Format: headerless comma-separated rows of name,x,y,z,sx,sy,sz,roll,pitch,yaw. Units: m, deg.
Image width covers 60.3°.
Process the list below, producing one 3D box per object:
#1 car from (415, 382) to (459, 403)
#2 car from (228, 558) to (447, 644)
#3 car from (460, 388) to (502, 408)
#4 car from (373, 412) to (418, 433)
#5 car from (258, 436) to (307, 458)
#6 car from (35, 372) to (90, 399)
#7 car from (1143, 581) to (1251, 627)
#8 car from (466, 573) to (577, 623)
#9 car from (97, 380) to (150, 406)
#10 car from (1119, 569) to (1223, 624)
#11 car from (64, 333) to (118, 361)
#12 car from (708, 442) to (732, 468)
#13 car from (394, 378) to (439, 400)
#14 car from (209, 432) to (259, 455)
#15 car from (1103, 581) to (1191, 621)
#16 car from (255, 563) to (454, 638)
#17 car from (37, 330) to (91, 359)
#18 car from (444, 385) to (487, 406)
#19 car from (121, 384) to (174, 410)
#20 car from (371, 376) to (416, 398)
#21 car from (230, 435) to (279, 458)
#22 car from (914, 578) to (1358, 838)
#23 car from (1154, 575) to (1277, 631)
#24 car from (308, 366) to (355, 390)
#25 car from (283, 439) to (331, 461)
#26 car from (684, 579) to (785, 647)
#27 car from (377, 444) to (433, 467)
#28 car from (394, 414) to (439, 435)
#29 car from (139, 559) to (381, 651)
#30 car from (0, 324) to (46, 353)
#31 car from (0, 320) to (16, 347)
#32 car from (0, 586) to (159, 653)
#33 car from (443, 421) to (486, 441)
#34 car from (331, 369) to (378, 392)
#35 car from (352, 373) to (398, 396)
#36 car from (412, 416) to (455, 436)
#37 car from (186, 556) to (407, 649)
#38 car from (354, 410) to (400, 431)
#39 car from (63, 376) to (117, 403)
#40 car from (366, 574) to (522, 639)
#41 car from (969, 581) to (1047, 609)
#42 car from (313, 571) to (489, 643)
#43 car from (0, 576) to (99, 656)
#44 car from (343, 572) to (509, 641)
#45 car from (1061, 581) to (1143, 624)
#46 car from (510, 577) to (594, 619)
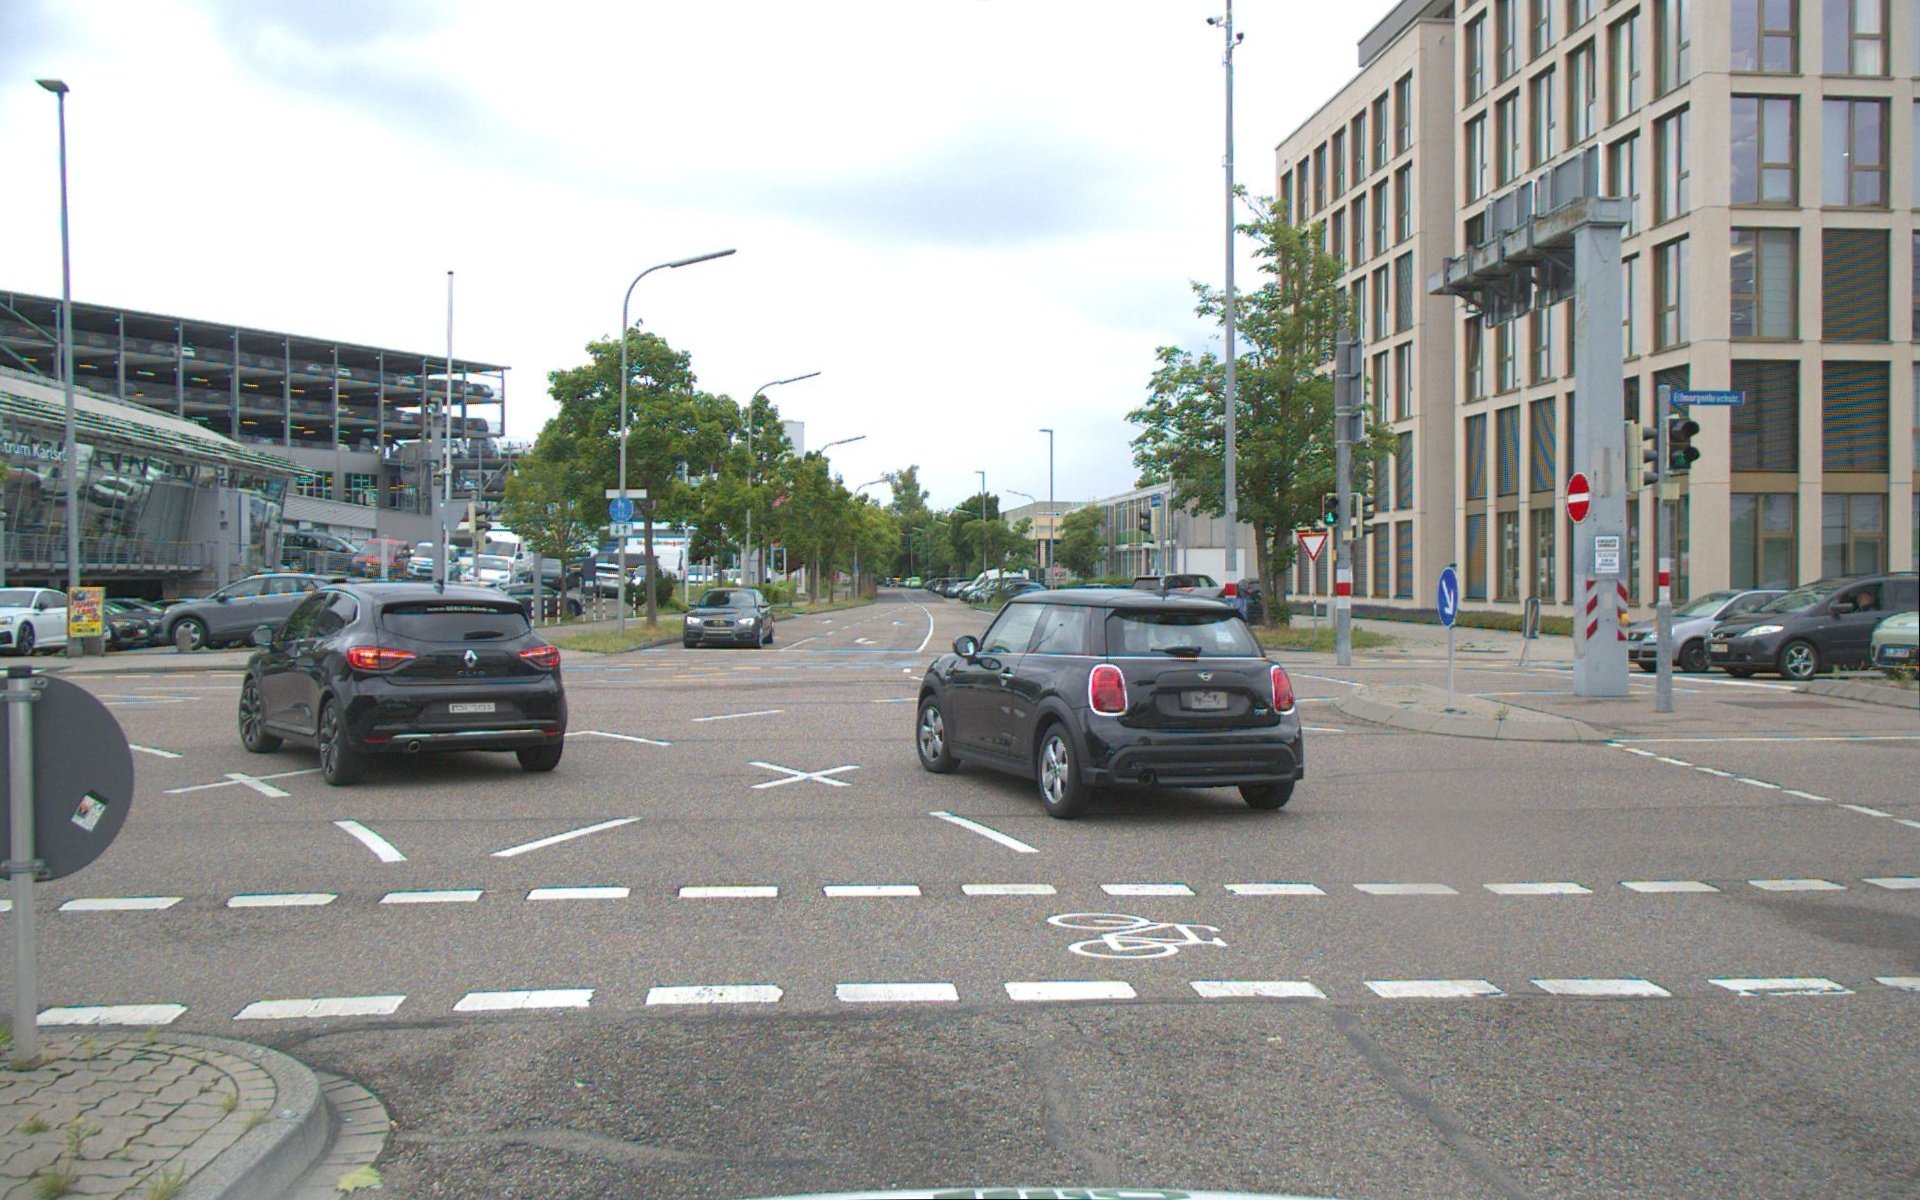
car,-51.363,-20.386,162.480,3.913,1.696,1.996,1,0,30
car,-16.345,0.019,43.647,4.927,2.049,2.263,-2,0,-7
car,-48.617,-20.489,167.883,3.913,1.696,1.996,1,0,30
car,-53.855,-16.937,157.710,3.913,1.696,1.996,1,0,30
car,-60.093,-13.549,146.723,3.913,1.696,1.996,1,0,30
car,-69.787,-16.683,128.587,3.913,1.696,1.996,1,0,30
car,8.484,0.155,59.074,1.856,1.578,4.107,0,-1,43
car,-17.173,-0.071,64.941,3.909,1.870,1.758,1,-1,-5
car,-67.207,-16.581,132.855,3.913,1.696,1.996,1,0,30
car,7.960,-0.120,62.258,1.962,2.000,4.223,-1,-1,39
car,-68.756,-20.020,130.900,3.913,1.696,1.996,1,0,30
car,-21.206,-12.791,146.083,1.955,1.915,3.995,0,-1,-6
car,-52.672,-20.442,160.321,3.913,1.696,1.996,1,0,30
car,-62.354,-13.405,142.068,3.913,1.696,1.996,1,0,30
car,7.453,0.065,65.642,1.666,1.538,3.796,0,-1,41
car,-16.852,0.019,46.258,4.854,1.909,2.050,-2,-1,-9
car,-69.720,-19.847,128.682,3.913,1.696,1.996,1,0,30
car,-49.643,-20.483,165.900,3.913,1.696,1.996,1,0,30
car,-66.272,-16.543,134.880,3.913,1.696,1.996,1,0,30
car,-54.103,-20.334,158.060,3.913,1.696,1.996,1,0,30
car,-61.428,-13.366,144.074,3.913,1.696,1.996,1,0,30
car,1.063,0.633,11.777,1.759,1.440,3.624,1,2,-19
car,8.476,0.105,54.685,4.098,1.799,1.860,0,-1,-42
car,-57.422,-20.271,151.029,3.913,1.696,1.996,1,0,30
car,-58.768,-13.492,148.828,3.913,1.696,1.996,1,0,30
car,-5.451,0.272,40.546,1.938,1.578,4.613,0,1,-1
car,-53.929,-14.044,160.692,5.210,1.979,2.209,1,0,27
car,-52.684,-17.026,160.279,3.913,1.696,1.996,1,0,30
car,-16.023,0.117,38.080,4.681,1.895,1.997,-2,0,-7
car,-71.810,-19.923,126.124,3.913,1.696,1.996,1,0,30
car,-72.839,-19.969,123.909,3.913,1.696,1.996,1,0,30
car,-27.245,0.565,50.329,4.708,1.973,1.998,0,0,-5
car,-49.655,-16.938,165.702,3.913,1.696,1.996,1,0,30
car,-56.155,-20.301,153.379,3.913,1.696,1.996,1,0,30
car,-55.176,-20.296,156.041,3.913,1.696,1.996,1,0,30
car,-51.660,-17.065,162.275,3.913,1.696,1.996,1,0,30
car,-16.217,0.056,40.643,4.611,2.049,1.997,-2,0,-7
car,-54.909,-16.898,155.708,3.913,1.696,1.996,1,0,30
car,-68.705,-16.637,130.645,3.913,1.696,1.996,1,0,30
car,-17.753,0.221,57.086,4.799,2.049,1.997,-2,0,-7
car,3.229,-0.312,111.593,5.072,1.750,2.142,1,-1,-5
car,-17.352,0.208,51.549,4.799,2.049,1.997,-2,0,-7
car,-19.241,0.374,33.361,1.832,1.512,4.224,-1,-1,-5
car,-17.450,0.200,54.266,4.799,2.049,1.997,-2,0,-7
car,6.208,0.105,71.909,3.407,1.762,1.738,2,-1,-44
car,-21.133,-0.089,85.847,3.909,2.049,1.998,1,-1,-5
